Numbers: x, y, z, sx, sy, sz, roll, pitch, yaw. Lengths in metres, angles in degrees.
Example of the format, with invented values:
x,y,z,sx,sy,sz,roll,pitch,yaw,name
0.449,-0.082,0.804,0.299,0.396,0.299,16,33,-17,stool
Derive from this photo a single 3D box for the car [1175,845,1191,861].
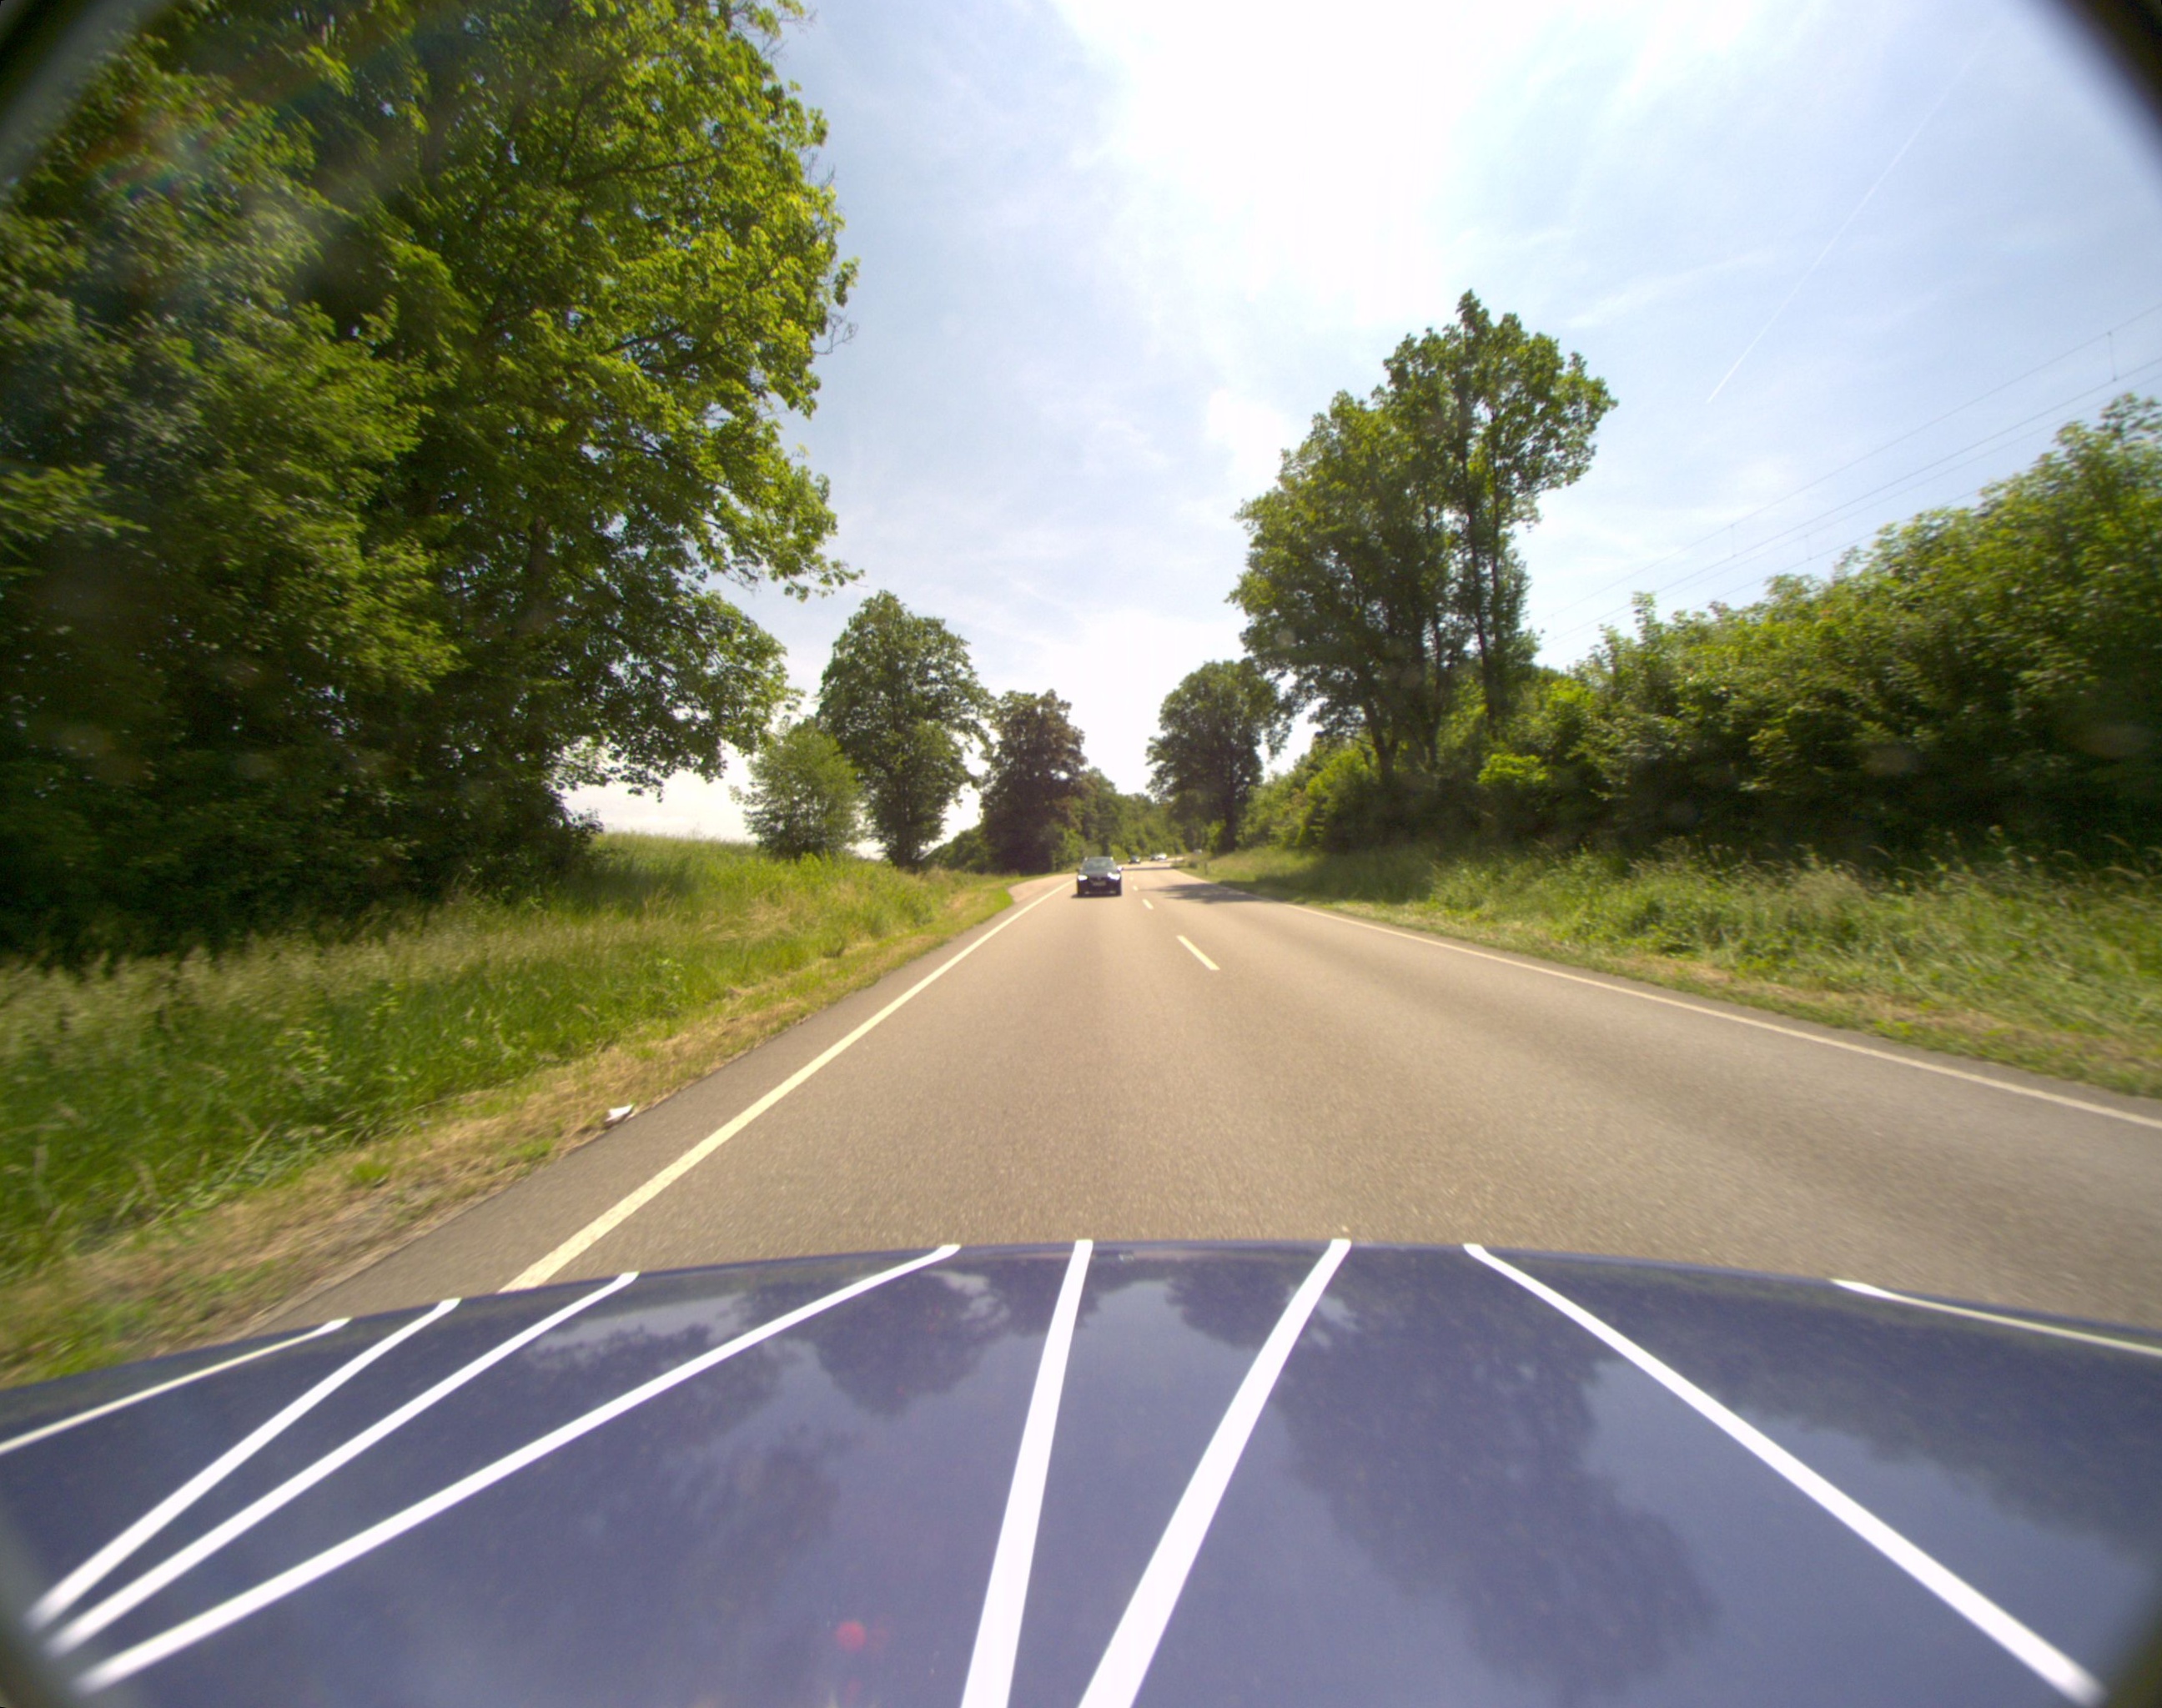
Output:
x,y,z,sx,sy,sz,roll,pitch,yaw,name
13.458,-0.096,100.335,1.997,2.002,4.002,-2,0,6,car

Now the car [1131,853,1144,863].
x,y,z,sx,sy,sz,roll,pitch,yaw,name
9.439,0.674,126.440,1.811,1.580,4.002,-2,0,7,car

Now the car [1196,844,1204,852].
x,y,z,sx,sy,sz,roll,pitch,yaw,name
32.761,-1.644,209.505,1.997,2.002,4.003,-2,0,9,car

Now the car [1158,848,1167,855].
x,y,z,sx,sy,sz,roll,pitch,yaw,name
18.918,-0.519,176.352,1.810,1.580,4.003,-2,0,10,car

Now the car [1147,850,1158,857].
x,y,z,sx,sy,sz,roll,pitch,yaw,name
15.025,-0.119,159.522,1.810,1.580,4.003,-2,0,9,car

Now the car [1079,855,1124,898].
x,y,z,sx,sy,sz,roll,pitch,yaw,name
0.875,0.862,30.389,1.661,1.531,3.487,-2,0,3,car
